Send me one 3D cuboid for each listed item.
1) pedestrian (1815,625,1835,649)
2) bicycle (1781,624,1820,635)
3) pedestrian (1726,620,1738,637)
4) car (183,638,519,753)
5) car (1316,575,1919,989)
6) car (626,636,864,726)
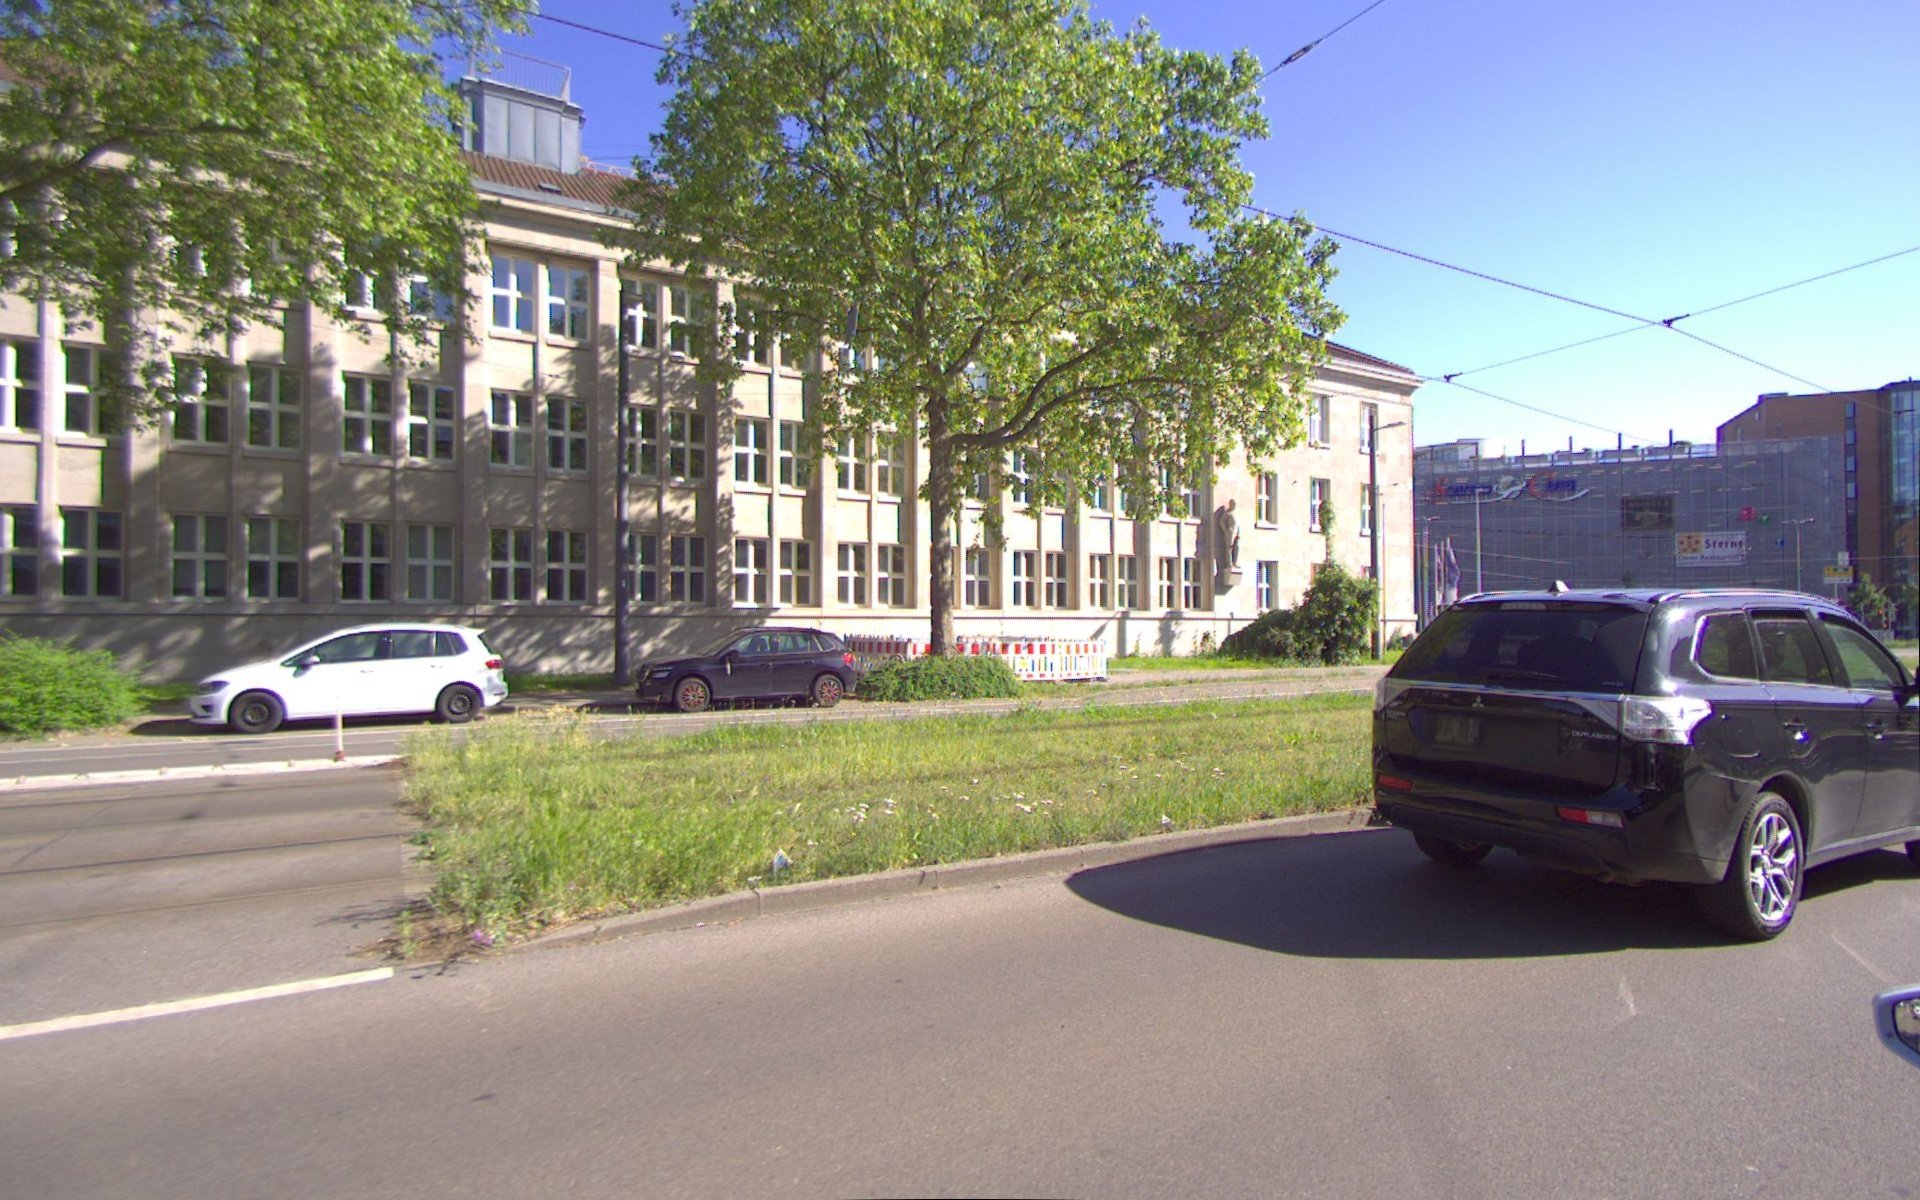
[{"bbox_3d":[62.898,2.686,73.040,0.871,1.730,0.712,0,-1,21],"label":"pedestrian"},{"bbox_3d":[97.167,3.420,116.165,3.309,1.091,1.115,1,0,28],"label":"bicycle"},{"bbox_3d":[81.493,3.032,106.043,0.839,1.761,0.754,0,-1,15],"label":"pedestrian"},{"bbox_3d":[-9.539,1.414,16.044,4.348,1.608,1.820,1,-2,-33],"label":"car"},{"bbox_3d":[4.473,0.816,6.100,4.588,1.704,1.827,2,-1,-30],"label":"car"},{"bbox_3d":[-4.093,1.478,19.289,4.132,1.512,1.821,0,-2,-30],"label":"car"}]
